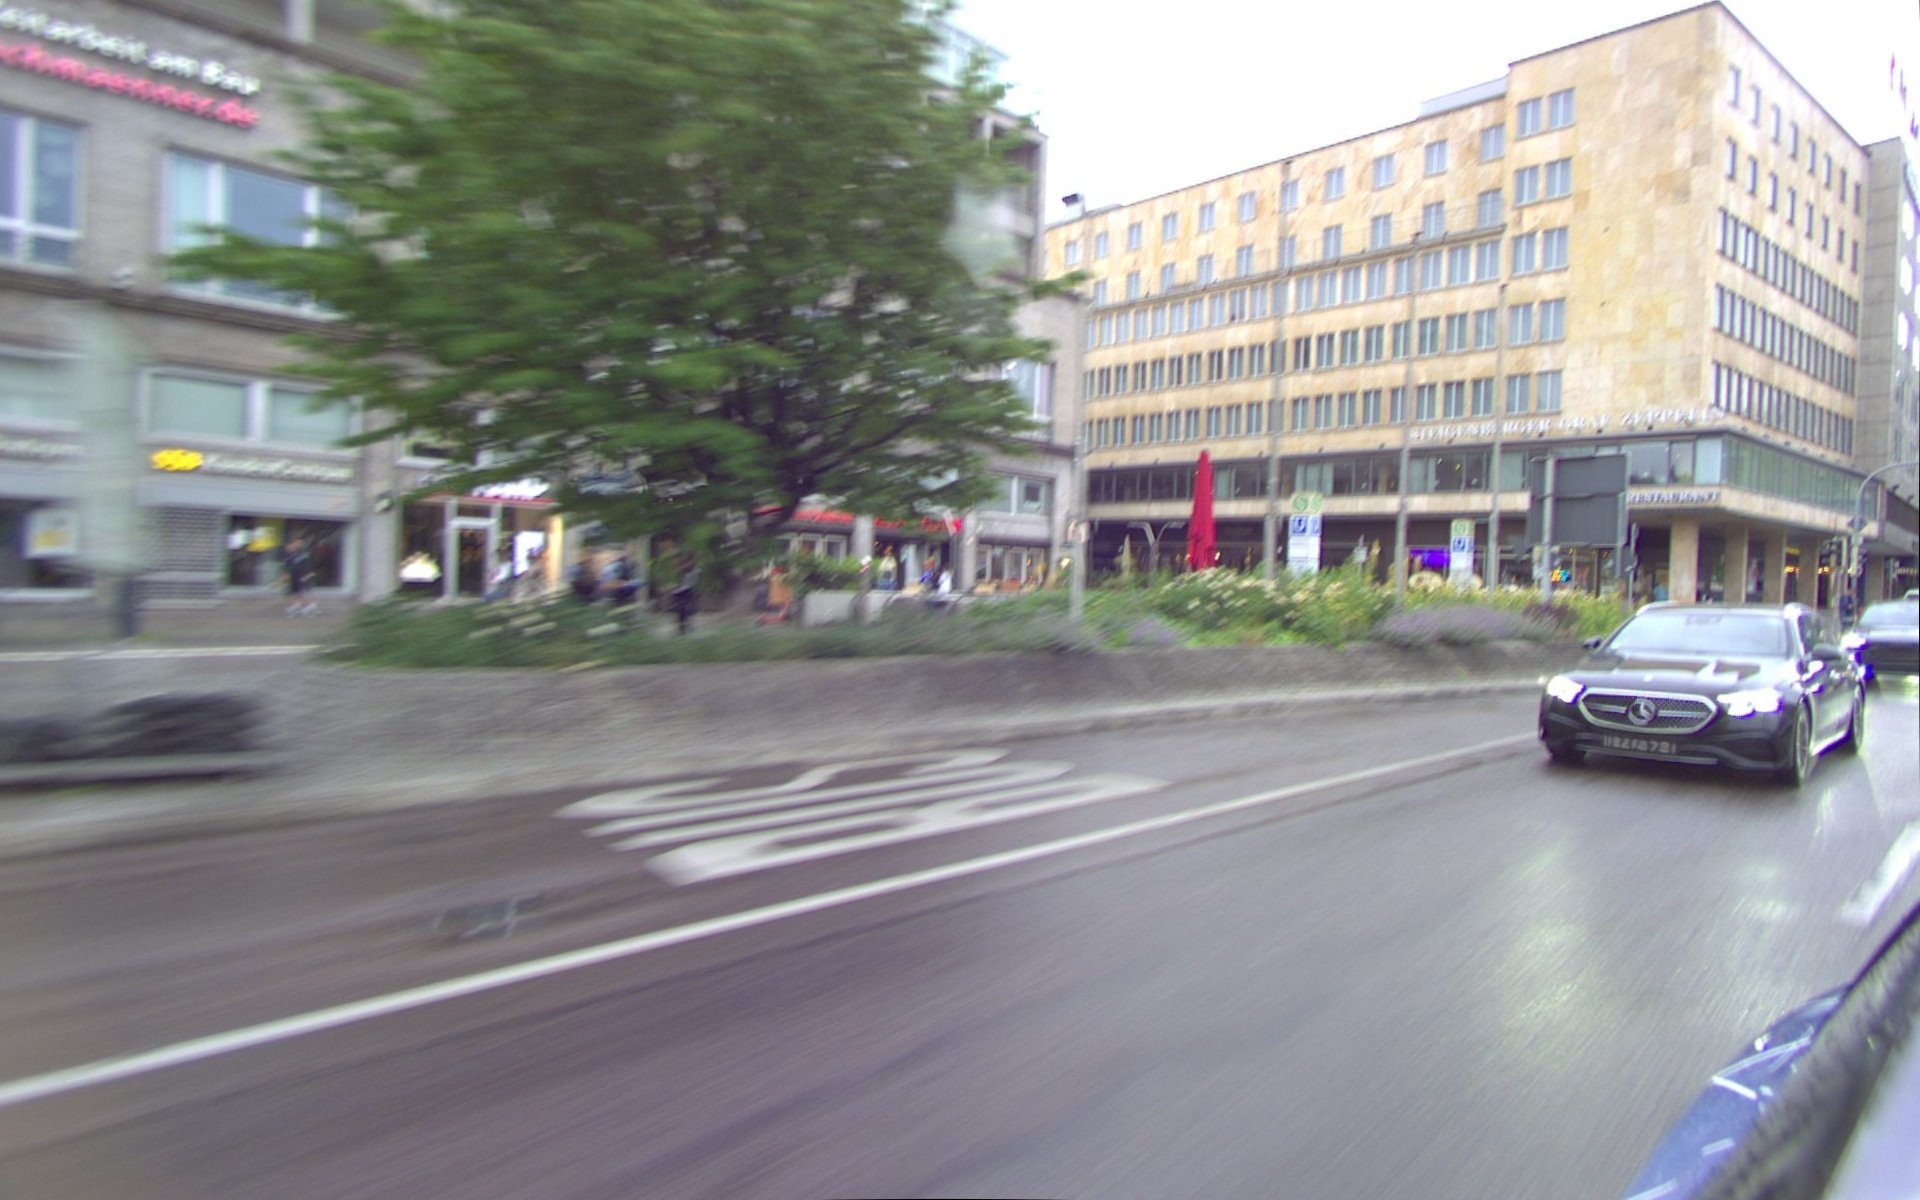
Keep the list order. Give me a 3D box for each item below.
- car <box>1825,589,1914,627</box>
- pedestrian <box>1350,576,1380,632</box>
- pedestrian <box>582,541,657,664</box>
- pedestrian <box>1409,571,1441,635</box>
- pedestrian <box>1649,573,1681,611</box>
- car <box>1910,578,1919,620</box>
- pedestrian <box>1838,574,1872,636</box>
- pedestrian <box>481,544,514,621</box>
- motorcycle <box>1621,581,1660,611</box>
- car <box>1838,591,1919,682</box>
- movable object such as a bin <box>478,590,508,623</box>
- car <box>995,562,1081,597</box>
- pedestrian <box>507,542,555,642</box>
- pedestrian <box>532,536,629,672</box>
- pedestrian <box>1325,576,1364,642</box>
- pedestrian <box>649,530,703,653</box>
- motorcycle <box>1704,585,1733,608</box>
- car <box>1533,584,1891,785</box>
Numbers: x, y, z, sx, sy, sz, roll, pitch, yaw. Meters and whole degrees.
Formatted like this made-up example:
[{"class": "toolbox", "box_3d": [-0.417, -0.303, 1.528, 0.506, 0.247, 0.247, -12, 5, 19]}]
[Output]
[{"class": "car", "box_3d": [37.600, 0.313, 41.827, 4.404, 1.431, 2.193, 0, 2, -41]}, {"class": "pedestrian", "box_3d": [11.542, 0.108, 28.852, 0.580, 1.548, 0.555, 0, 1, -38]}, {"class": "pedestrian", "box_3d": [-5.055, 0.025, 15.031, 0.854, 1.773, 0.613, 0, 1, -43]}, {"class": "pedestrian", "box_3d": [13.242, 0.078, 28.819, 0.669, 1.812, 0.536, 0, 1, -38]}, {"class": "pedestrian", "box_3d": [35.774, -0.398, 51.345, 1.089, 1.870, 1.001, 0, 2, -39]}, {"class": "car", "box_3d": [46.020, -0.049, 47.191, 4.909, 1.908, 1.997, 0, 2, -41]}, {"class": "pedestrian", "box_3d": [28.596, 0.157, 32.324, 0.779, 1.943, 0.674, 0, 1, -40]}, {"class": "pedestrian", "box_3d": [-10.851, -0.412, 23.750, 0.563, 1.773, 0.527, 0, 1, -42]}, {"class": "motorcycle", "box_3d": [34.915, -0.216, 51.903, 2.801, 1.471, 0.964, 0, 2, -41]}, {"class": "car", "box_3d": [17.826, 0.622, 18.683, 4.091, 1.527, 1.875, 0, 2, -41]}, {"class": "movable object such as a bin", "box_3d": [-10.681, 0.147, 23.145, 0.470, 0.733, 0.572, 0, 1, -43]}, {"class": "car", "box_3d": [4.569, -1.254, 60.014, 1.965, 1.950, 5.158, 1, 1, -41]}, {"class": "pedestrian", "box_3d": [-7.733, -0.150, 18.238, 0.625, 1.773, 0.532, 0, 1, -43]}, {"class": "pedestrian", "box_3d": [-5.135, 0.042, 13.709, 1.058, 1.773, 0.641, 0, 1, -44]}, {"class": "pedestrian", "box_3d": [10.614, 0.228, 27.910, 0.823, 1.773, 0.698, 0, 1, -43]}, {"class": "pedestrian", "box_3d": [-4.205, -0.132, 14.981, 0.558, 1.773, 0.567, 0, 1, -43]}, {"class": "motorcycle", "box_3d": [41.181, -0.201, 54.930, 2.492, 1.246, 0.730, 0, 1, -41]}, {"class": "car", "box_3d": [7.390, 0.614, 9.755, 4.618, 1.482, 1.821, 0, 1, -41]}]
